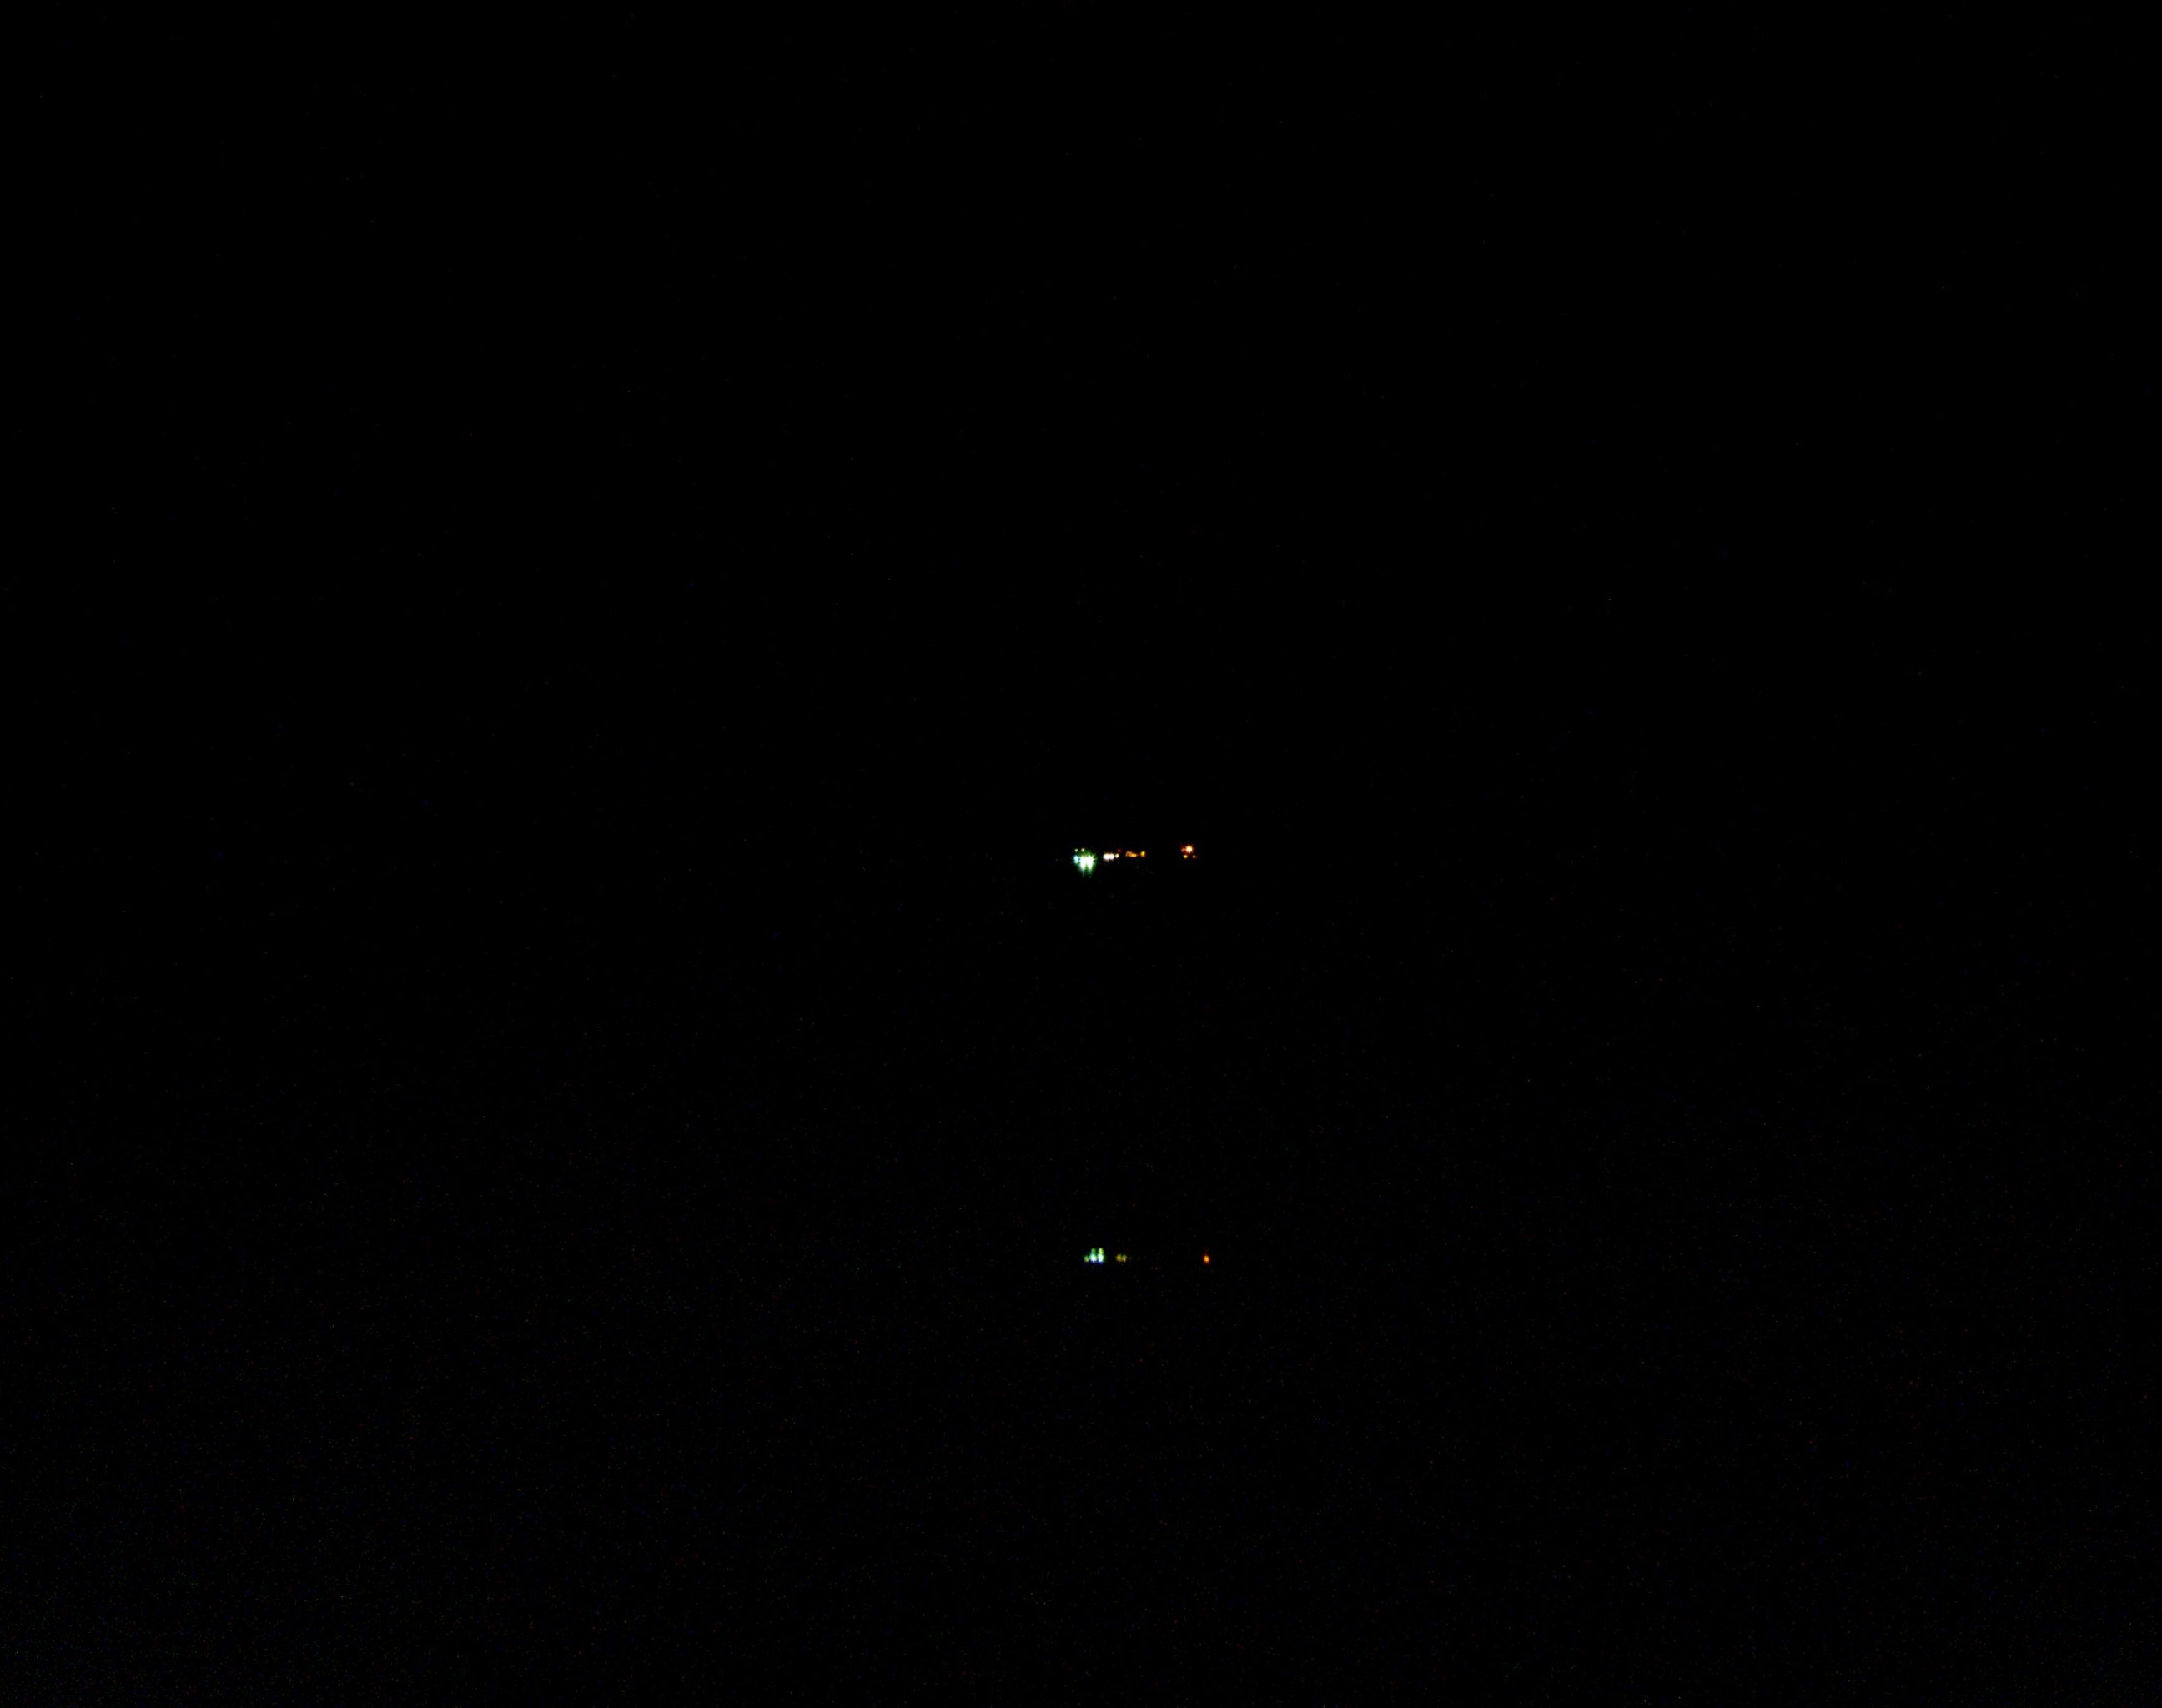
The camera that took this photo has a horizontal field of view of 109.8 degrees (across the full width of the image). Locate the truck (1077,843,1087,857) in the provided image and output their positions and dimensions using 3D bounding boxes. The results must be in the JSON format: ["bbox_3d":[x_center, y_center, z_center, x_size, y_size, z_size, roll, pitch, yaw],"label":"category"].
[{"bbox_3d":[0.384,-1.245,228.095,2.749,4.182,13.509,-2,0,0],"label":"truck"}]

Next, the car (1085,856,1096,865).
[{"bbox_3d":[1.923,1.341,157.473,2.267,1.842,5.403,-2,0,0],"label":"car"}]
